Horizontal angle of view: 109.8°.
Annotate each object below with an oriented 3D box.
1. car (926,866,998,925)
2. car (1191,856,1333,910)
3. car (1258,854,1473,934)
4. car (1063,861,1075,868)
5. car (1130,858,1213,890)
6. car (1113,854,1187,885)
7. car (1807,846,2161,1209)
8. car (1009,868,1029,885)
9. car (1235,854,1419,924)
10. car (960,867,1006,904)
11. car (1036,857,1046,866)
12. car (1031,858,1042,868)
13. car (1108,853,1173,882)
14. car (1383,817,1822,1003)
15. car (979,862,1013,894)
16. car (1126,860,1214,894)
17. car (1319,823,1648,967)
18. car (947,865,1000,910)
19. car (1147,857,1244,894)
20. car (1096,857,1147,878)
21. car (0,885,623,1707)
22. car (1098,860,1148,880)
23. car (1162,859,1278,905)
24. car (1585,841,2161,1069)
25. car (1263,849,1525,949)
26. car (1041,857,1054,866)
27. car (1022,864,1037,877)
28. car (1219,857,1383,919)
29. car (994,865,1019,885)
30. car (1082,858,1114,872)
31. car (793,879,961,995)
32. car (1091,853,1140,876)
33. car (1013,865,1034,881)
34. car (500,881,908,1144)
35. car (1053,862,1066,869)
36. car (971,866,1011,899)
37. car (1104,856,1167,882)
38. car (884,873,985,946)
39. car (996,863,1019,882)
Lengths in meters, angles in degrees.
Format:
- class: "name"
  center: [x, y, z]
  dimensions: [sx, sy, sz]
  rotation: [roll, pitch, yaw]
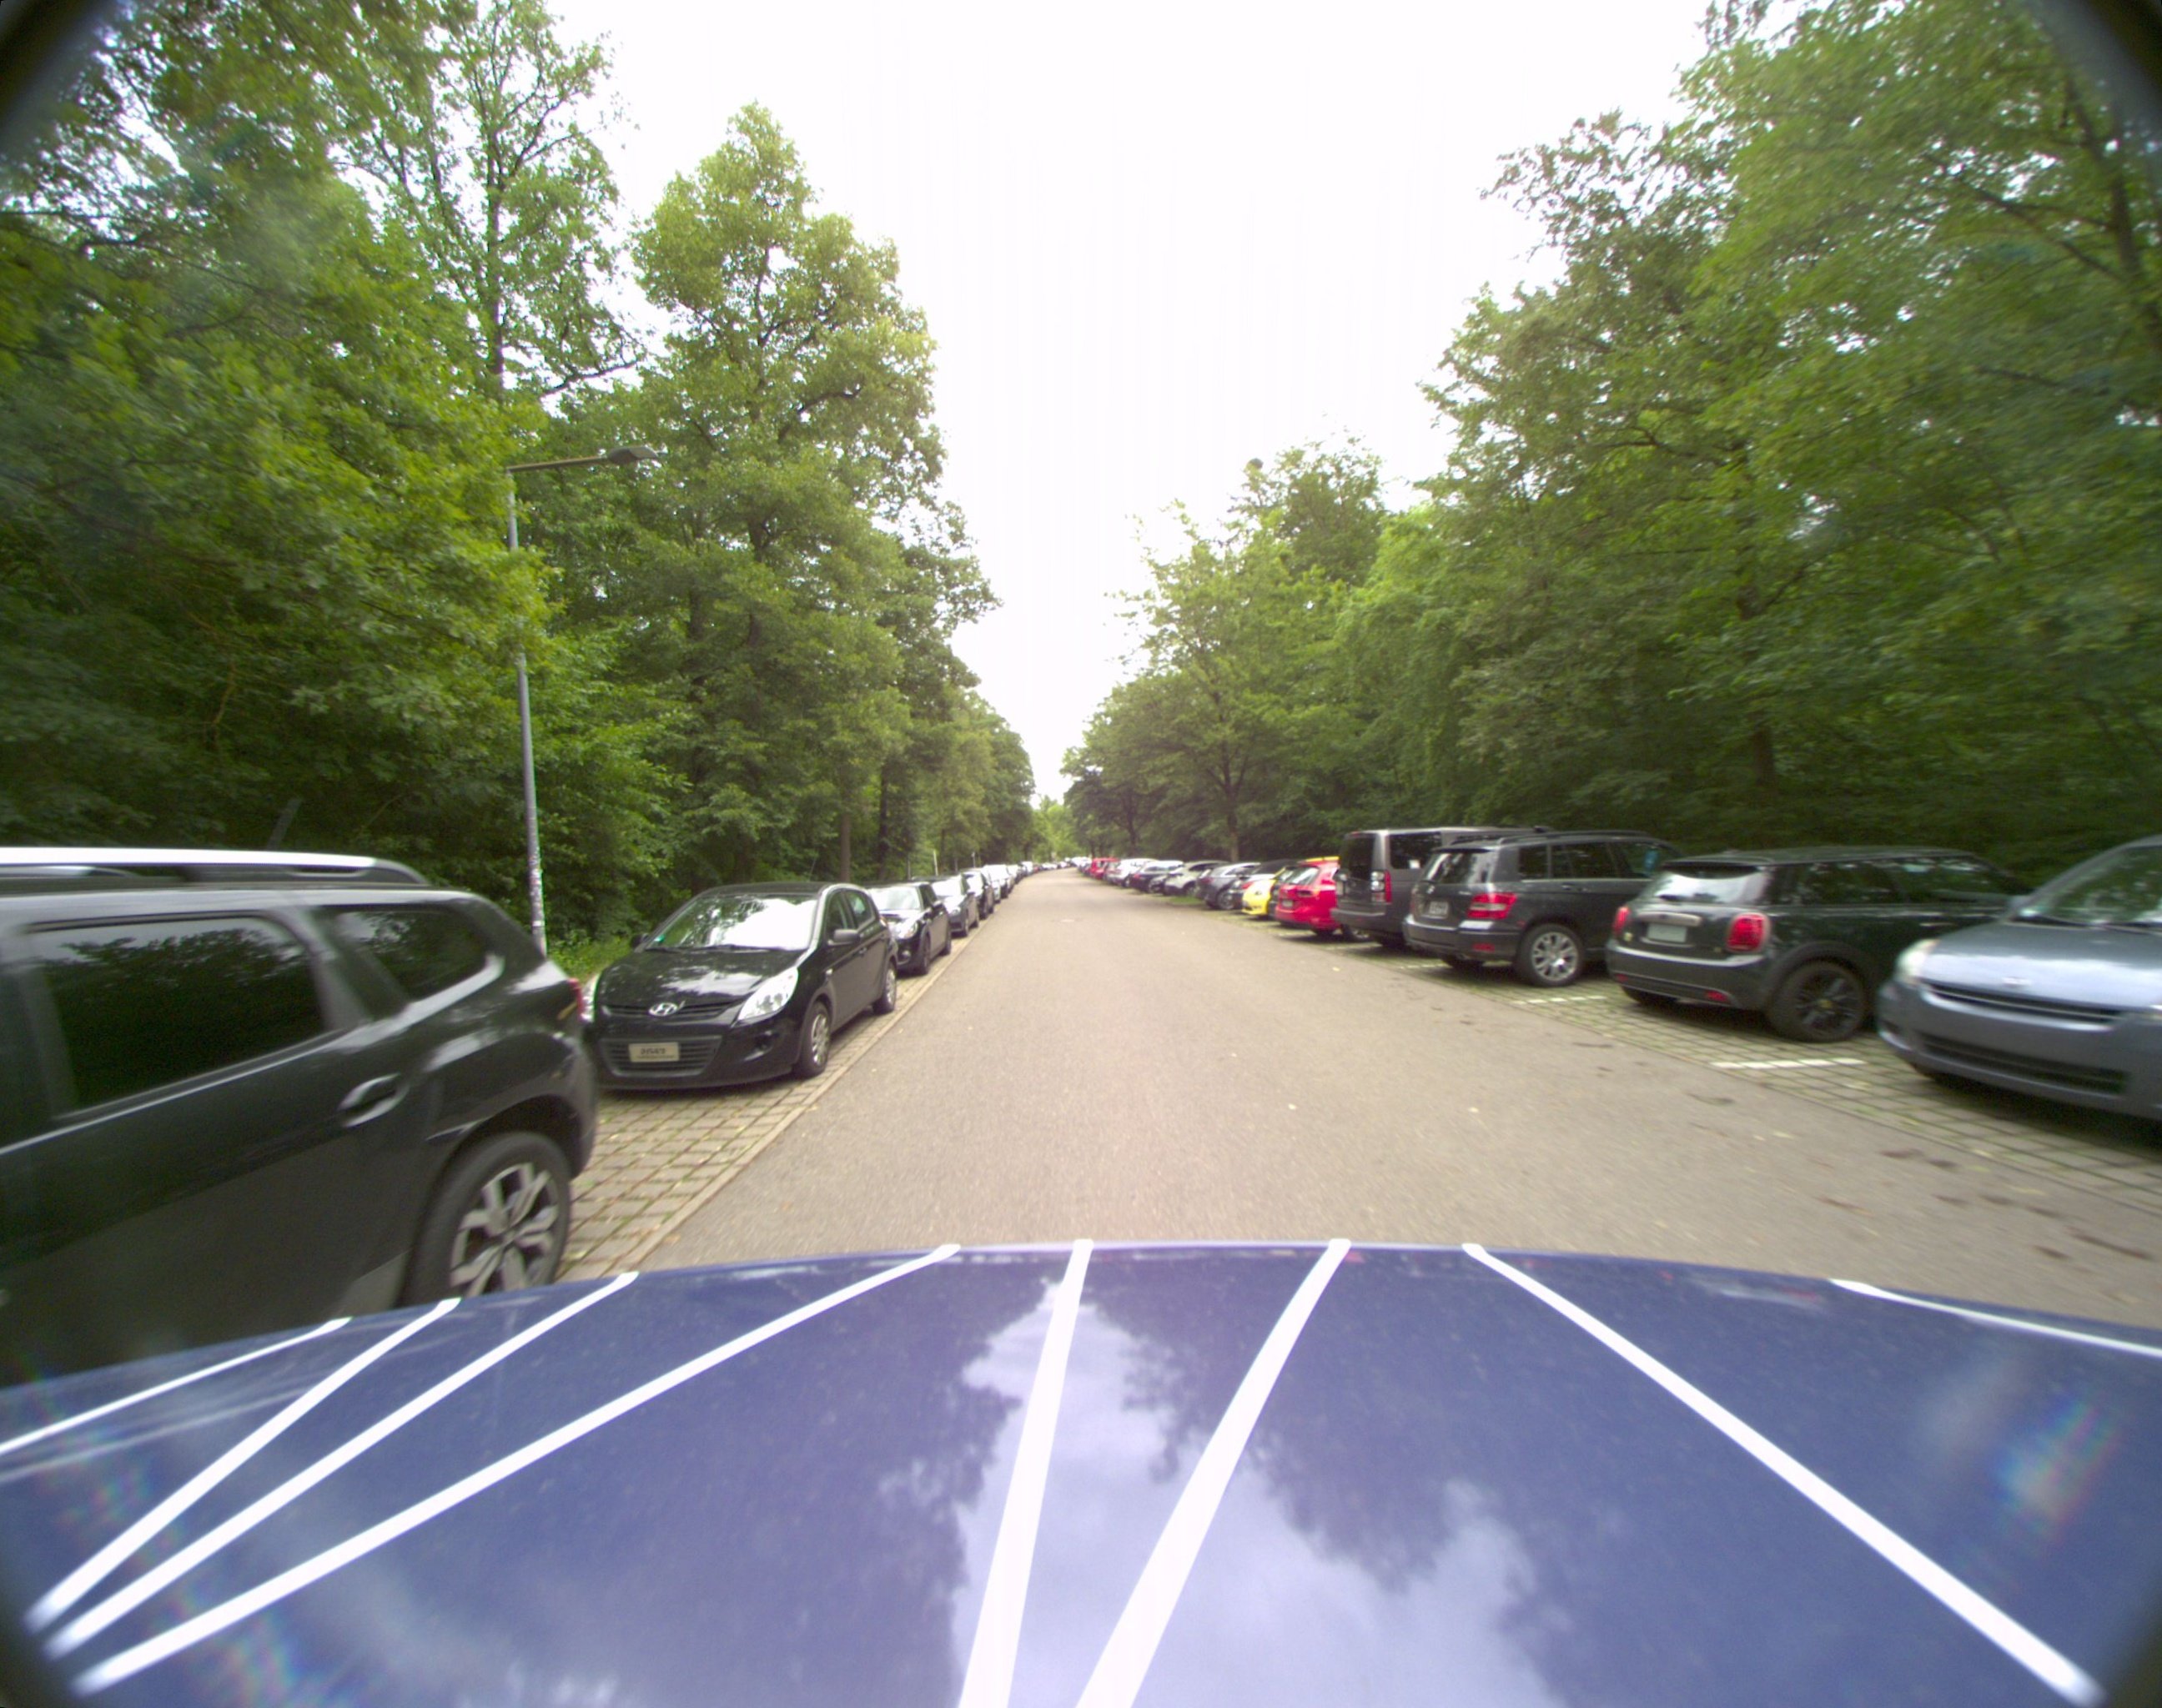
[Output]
- class: "car"
  center: [-3.682, 1.232, 24.216]
  dimensions: [1.741, 1.579, 4.381]
  rotation: [-3, 0, -3]
- class: "car"
  center: [5.643, 0.890, 23.998]
  dimensions: [3.998, 1.429, 1.714]
  rotation: [-3, 0, -3]
- class: "car"
  center: [6.119, 0.831, 16.577]
  dimensions: [3.999, 1.429, 1.671]
  rotation: [-3, 0, -5]
- class: "car"
  center: [-2.520, 2.172, 164.146]
  dimensions: [1.771, 1.308, 3.893]
  rotation: [-3, 0, 11]
- class: "car"
  center: [4.637, 1.016, 39.276]
  dimensions: [3.997, 1.427, 1.648]
  rotation: [-2, 0, -1]
- class: "car"
  center: [3.987, 0.886, 44.408]
  dimensions: [3.998, 1.652, 1.814]
  rotation: [-2, 0, -4]
- class: "car"
  center: [6.488, 0.701, 3.864]
  dimensions: [3.824, 1.503, 1.809]
  rotation: [-2, -1, 0]
- class: "car"
  center: [-6.190, 2.237, 76.274]
  dimensions: [1.907, 1.577, 4.480]
  rotation: [-3, 0, -4]
- class: "car"
  center: [6.048, 0.844, 18.963]
  dimensions: [3.998, 1.429, 1.617]
  rotation: [-3, 0, -3]
- class: "car"
  center: [-4.288, 1.364, 33.834]
  dimensions: [1.741, 1.416, 4.153]
  rotation: [-3, 0, -4]
- class: "car"
  center: [-6.851, 1.332, 130.362]
  dimensions: [1.502, 1.470, 3.666]
  rotation: [-4, 0, 0]
- class: "car"
  center: [-6.909, 1.392, 118.691]
  dimensions: [1.502, 1.470, 3.666]
  rotation: [-4, 0, 0]
- class: "car"
  center: [3.812, 0.864, 49.244]
  dimensions: [3.998, 1.652, 1.814]
  rotation: [-2, 0, -2]
- class: "car"
  center: [6.023, 0.597, 9.092]
  dimensions: [3.998, 1.755, 1.823]
  rotation: [-3, 0, -4]
- class: "car"
  center: [-4.899, 1.342, 44.357]
  dimensions: [1.741, 1.633, 5.070]
  rotation: [-3, 0, -4]
- class: "car"
  center: [4.268, 1.111, 36.899]
  dimensions: [3.997, 1.427, 1.677]
  rotation: [-3, 0, -1]
- class: "car"
  center: [5.929, 0.570, 11.525]
  dimensions: [3.998, 1.851, 1.813]
  rotation: [-2, 0, -3]
- class: "car"
  center: [-4.175, 1.276, 29.970]
  dimensions: [1.741, 1.559, 4.007]
  rotation: [-3, 0, -4]
- class: "car"
  center: [5.041, 0.948, 33.856]
  dimensions: [3.997, 1.427, 1.677]
  rotation: [-2, 0, -1]
- class: "car"
  center: [3.256, 1.098, 61.659]
  dimensions: [3.998, 1.507, 1.771]
  rotation: [-2, 0, -3]
- class: "car"
  center: [-2.784, 0.967, 1.037]
  dimensions: [1.741, 1.623, 4.374]
  rotation: [-3, 0, -2]
- class: "car"
  center: [3.556, 1.371, 64.641]
  dimensions: [3.998, 1.507, 1.818]
  rotation: [-2, 0, -3]
- class: "car"
  center: [5.224, 1.041, 28.914]
  dimensions: [3.998, 1.458, 1.714]
  rotation: [-3, 0, -3]
- class: "car"
  center: [6.806, 0.721, 6.360]
  dimensions: [3.998, 1.421, 1.720]
  rotation: [-3, 0, -2]
- class: "car"
  center: [5.614, 0.778, 13.914]
  dimensions: [3.998, 1.467, 1.779]
  rotation: [-3, 0, -5]
- class: "car"
  center: [-6.080, 1.382, 138.231]
  dimensions: [1.501, 1.470, 3.669]
  rotation: [-3, 0, 10]
- class: "car"
  center: [-6.853, 2.129, 101.371]
  dimensions: [1.581, 1.610, 3.962]
  rotation: [-3, 0, 0]
- class: "car"
  center: [6.072, 0.908, 21.288]
  dimensions: [3.998, 1.429, 1.733]
  rotation: [-3, 0, -3]
- class: "car"
  center: [-5.525, 1.548, 56.904]
  dimensions: [1.741, 1.398, 4.426]
  rotation: [-3, 0, -4]
- class: "car"
  center: [2.184, 1.438, 99.214]
  dimensions: [3.999, 1.717, 1.713]
  rotation: [-2, 0, -6]
- class: "car"
  center: [-3.196, 1.227, 12.842]
  dimensions: [1.741, 1.423, 4.501]
  rotation: [-3, 0, -2]
- class: "car"
  center: [3.002, 0.926, 66.597]
  dimensions: [3.998, 1.804, 1.817]
  rotation: [-2, 0, -3]
- class: "car"
  center: [-6.805, 2.209, 90.163]
  dimensions: [1.909, 1.713, 4.486]
  rotation: [-3, 0, 3]
- class: "car"
  center: [-2.905, 1.096, 7.026]
  dimensions: [1.741, 1.486, 4.233]
  rotation: [-3, 0, -3]
- class: "car"
  center: [-4.277, 2.305, 154.826]
  dimensions: [1.771, 1.307, 3.895]
  rotation: [-3, -3, 11]
- class: "car"
  center: [-4.487, 1.403, 38.408]
  dimensions: [1.741, 1.465, 4.603]
  rotation: [-3, 0, -4]
- class: "car"
  center: [3.685, 1.015, 51.710]
  dimensions: [3.998, 1.652, 1.695]
  rotation: [-1, 0, -4]
- class: "car"
  center: [-3.456, 1.262, 18.743]
  dimensions: [1.741, 1.423, 4.501]
  rotation: [-3, 0, -2]
- class: "car"
  center: [-6.031, 1.537, 63.052]
  dimensions: [1.741, 1.426, 4.744]
  rotation: [-3, 0, -4]
